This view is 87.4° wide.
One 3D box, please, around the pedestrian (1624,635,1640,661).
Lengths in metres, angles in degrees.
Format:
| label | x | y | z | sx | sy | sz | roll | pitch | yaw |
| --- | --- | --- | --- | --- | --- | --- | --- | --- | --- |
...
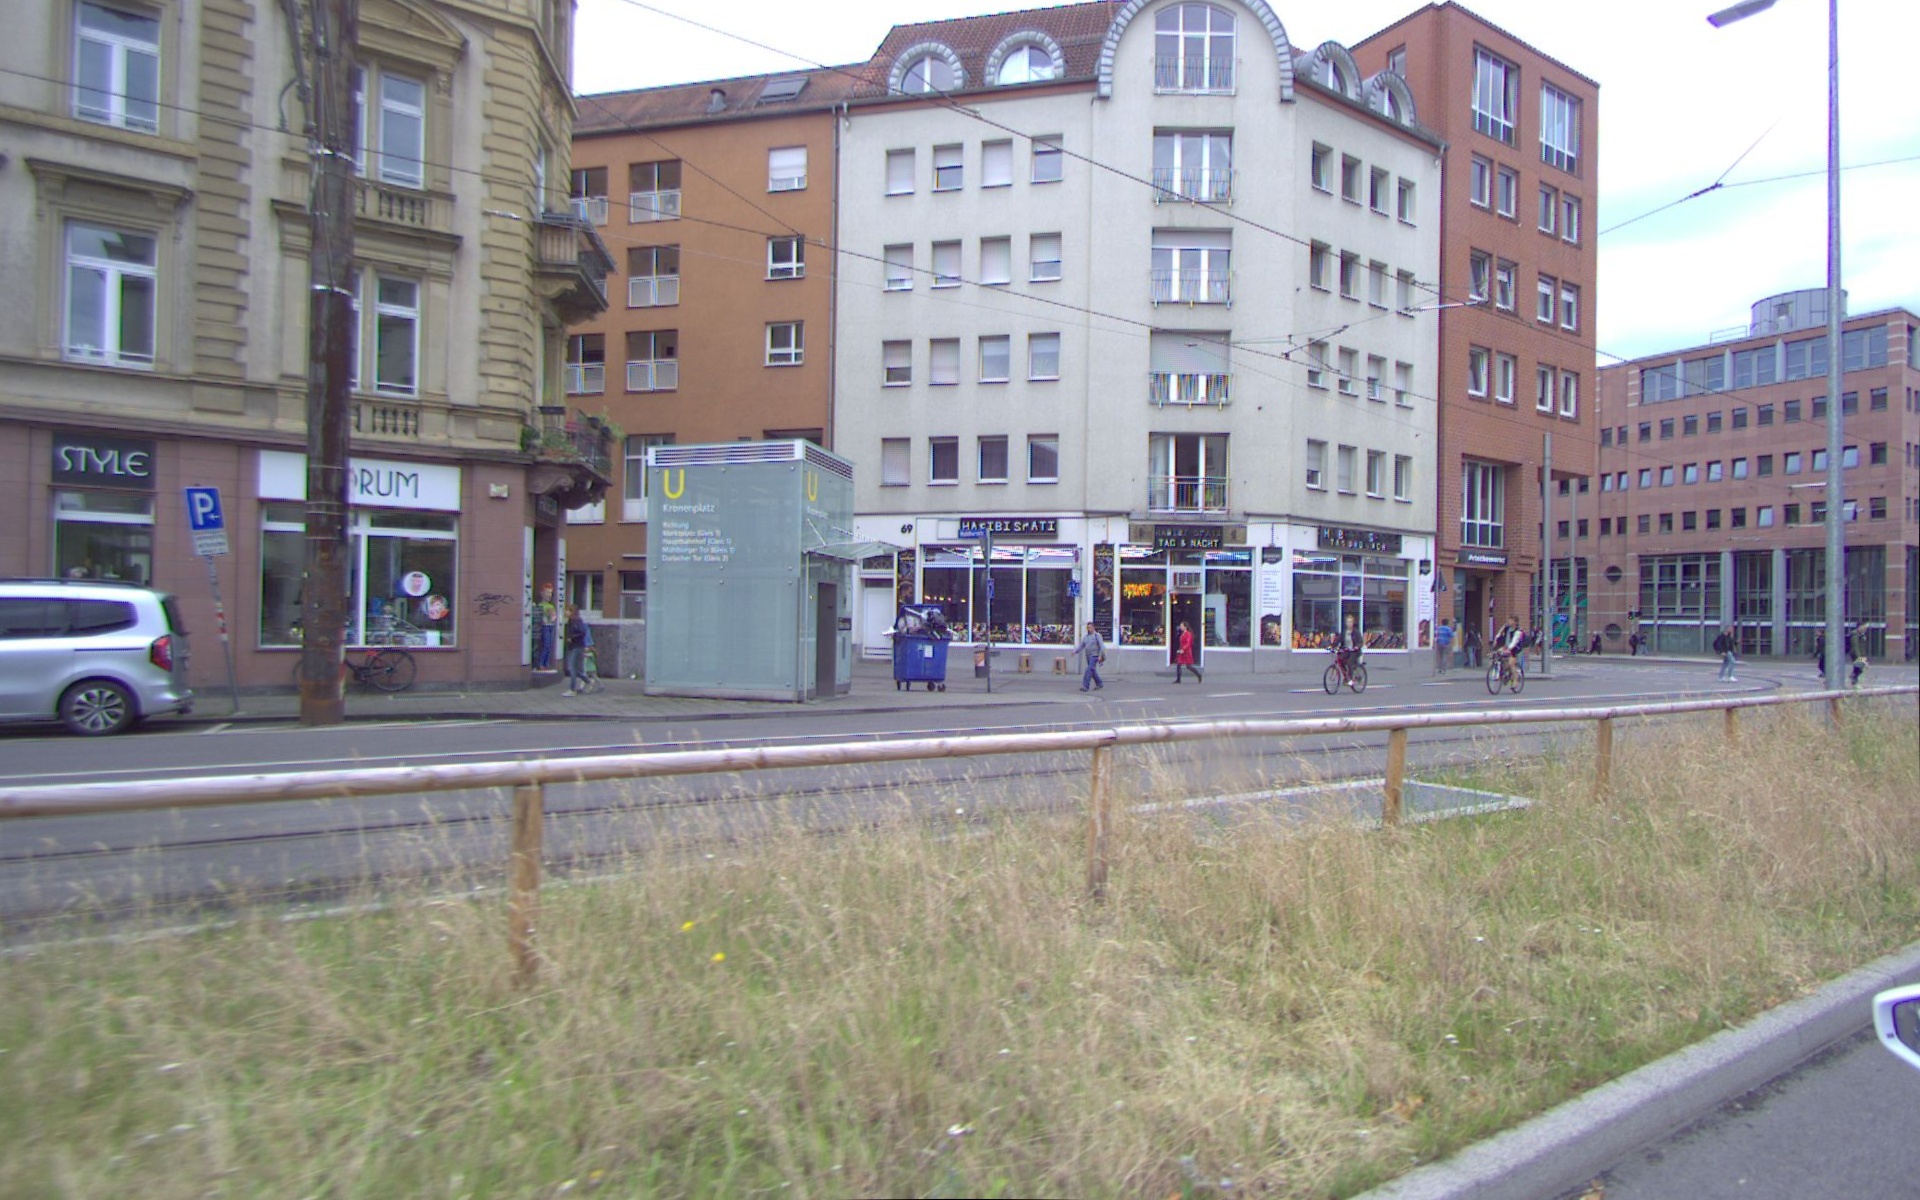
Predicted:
| label | x | y | z | sx | sy | sz | roll | pitch | yaw |
| --- | --- | --- | --- | --- | --- | --- | --- | --- | --- |
| pedestrian | 44.087 | 3.143 | 65.889 | 0.734 | 1.710 | 0.571 | 2 | -1 | 44 |

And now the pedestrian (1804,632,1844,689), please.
| label | x | y | z | sx | sy | sz | roll | pitch | yaw |
| --- | --- | --- | --- | --- | --- | --- | --- | --- | --- |
| pedestrian | 26.917 | 1.881 | 31.308 | 0.791 | 1.706 | 0.738 | 3 | 0 | -36 |

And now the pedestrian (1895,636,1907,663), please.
| label | x | y | z | sx | sy | sz | roll | pitch | yaw |
| --- | --- | --- | --- | --- | --- | --- | --- | --- | --- |
| pedestrian | 57.026 | 2.997 | 60.880 | 0.443 | 1.552 | 0.519 | 2 | 0 | 41 |

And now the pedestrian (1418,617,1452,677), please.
| label | x | y | z | sx | sy | sz | roll | pitch | yaw |
| --- | --- | --- | --- | --- | --- | --- | --- | --- | --- |
| pedestrian | 13.856 | 1.373 | 29.314 | 0.718 | 1.709 | 0.653 | 4 | -3 | -44 |

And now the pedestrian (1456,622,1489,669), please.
| label | x | y | z | sx | sy | sz | roll | pitch | yaw |
| --- | --- | --- | --- | --- | --- | --- | --- | --- | --- |
| pedestrian | 19.206 | 1.721 | 37.646 | 0.791 | 1.706 | 0.738 | 3 | 0 | -36 |

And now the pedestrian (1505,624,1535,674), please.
| label | x | y | z | sx | sy | sz | roll | pitch | yaw |
| --- | --- | --- | --- | --- | --- | --- | --- | --- | --- |
| pedestrian | 19.481 | 1.696 | 34.933 | 0.791 | 1.706 | 0.565 | 3 | 0 | -36 |

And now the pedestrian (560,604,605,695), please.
| label | x | y | z | sx | sy | sz | roll | pitch | yaw |
| --- | --- | --- | --- | --- | --- | --- | --- | --- | --- |
| pedestrian | -6.721 | 0.877 | 17.888 | 0.646 | 1.577 | 0.554 | 2 | 0 | -14 |

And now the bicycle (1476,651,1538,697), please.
| label | x | y | z | sx | sy | sz | roll | pitch | yaw |
| --- | --- | --- | --- | --- | --- | --- | --- | --- | --- |
| bicycle | 12.926 | 1.725 | 23.709 | 1.892 | 1.034 | 0.473 | 2 | -2 | -34 |

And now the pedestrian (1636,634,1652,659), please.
| label | x | y | z | sx | sy | sz | roll | pitch | yaw |
| --- | --- | --- | --- | --- | --- | --- | --- | --- | --- |
| pedestrian | 45.093 | 3.062 | 66.229 | 0.570 | 1.581 | 0.735 | 4 | -1 | -43 |

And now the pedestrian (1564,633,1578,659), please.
| label | x | y | z | sx | sy | sz | roll | pitch | yaw |
| --- | --- | --- | --- | --- | --- | --- | --- | --- | --- |
| pedestrian | 37.999 | 2.856 | 62.466 | 0.625 | 1.595 | 0.568 | 3 | -1 | -39 |

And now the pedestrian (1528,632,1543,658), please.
| label | x | y | z | sx | sy | sz | roll | pitch | yaw |
| --- | --- | --- | --- | --- | --- | --- | --- | --- | --- |
| pedestrian | 36.302 | 2.826 | 63.328 | 0.625 | 1.633 | 0.568 | 3 | -1 | -39 |

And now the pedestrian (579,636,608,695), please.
| label | x | y | z | sx | sy | sz | roll | pitch | yaw |
| --- | --- | --- | --- | --- | --- | --- | --- | --- | --- |
| pedestrian | -6.752 | 1.193 | 18.487 | 0.447 | 1.044 | 0.552 | 2 | 0 | -23 |

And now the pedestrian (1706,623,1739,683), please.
| label | x | y | z | sx | sy | sz | roll | pitch | yaw |
| --- | --- | --- | --- | --- | --- | --- | --- | --- | --- |
| pedestrian | 24.827 | 1.719 | 32.706 | 0.791 | 1.914 | 0.606 | 3 | -1 | -34 |

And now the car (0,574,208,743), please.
| label | x | y | z | sx | sy | sz | roll | pitch | yaw |
| --- | --- | --- | --- | --- | --- | --- | --- | --- | --- |
| car | -11.714 | 0.675 | 11.769 | 4.473 | 1.889 | 1.892 | 2 | -3 | -34 |

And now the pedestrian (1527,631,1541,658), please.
| label | x | y | z | sx | sy | sz | roll | pitch | yaw |
| --- | --- | --- | --- | --- | --- | --- | --- | --- | --- |
| pedestrian | 36.612 | 2.834 | 64.097 | 0.625 | 1.633 | 0.568 | 3 | -1 | -39 |

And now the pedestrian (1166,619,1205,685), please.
| label | x | y | z | sx | sy | sz | roll | pitch | yaw |
| --- | --- | --- | --- | --- | --- | --- | --- | --- | --- |
| pedestrian | 6.011 | 1.382 | 26.766 | 0.657 | 1.709 | 0.714 | 4 | -3 | -42 |

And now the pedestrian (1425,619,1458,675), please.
| label | x | y | z | sx | sy | sz | roll | pitch | yaw |
| --- | --- | --- | --- | --- | --- | --- | --- | --- | --- |
| pedestrian | 14.799 | 1.442 | 30.875 | 0.717 | 1.709 | 0.654 | 4 | -3 | -41 |

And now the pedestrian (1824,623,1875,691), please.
| label | x | y | z | sx | sy | sz | roll | pitch | yaw |
| --- | --- | --- | --- | --- | --- | --- | --- | --- | --- |
| pedestrian | 25.969 | 1.658 | 29.330 | 0.791 | 1.915 | 0.891 | 3 | 0 | -34 |

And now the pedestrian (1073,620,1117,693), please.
| label | x | y | z | sx | sy | sz | roll | pitch | yaw |
| --- | --- | --- | --- | --- | --- | --- | --- | --- | --- |
| pedestrian | 3.237 | 1.357 | 24.124 | 0.810 | 1.709 | 0.721 | 2 | -2 | -11 |

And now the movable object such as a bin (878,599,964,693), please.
| label | x | y | z | sx | sy | sz | roll | pitch | yaw |
| --- | --- | --- | --- | --- | --- | --- | --- | --- | --- |
| movable object such as a bin | -0.888 | 1.041 | 22.589 | 1.596 | 2.007 | 1.028 | 3 | -2 | -25 |

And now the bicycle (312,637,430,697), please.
| label | x | y | z | sx | sy | sz | roll | pitch | yaw |
| --- | --- | --- | --- | --- | --- | --- | --- | --- | --- |
| bicycle | -9.912 | 1.134 | 16.955 | 1.664 | 0.972 | 0.339 | 2 | 0 | -25 |

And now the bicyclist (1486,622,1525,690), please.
| label | x | y | z | sx | sy | sz | roll | pitch | yaw |
| --- | --- | --- | --- | --- | --- | --- | --- | --- | --- |
| bicyclist | 12.871 | 1.307 | 23.685 | 0.803 | 1.561 | 0.488 | 2 | -2 | -34 |

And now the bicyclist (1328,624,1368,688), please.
| label | x | y | z | sx | sy | sz | roll | pitch | yaw |
| --- | --- | --- | --- | --- | --- | --- | --- | --- | --- |
| bicyclist | 8.843 | 1.258 | 22.868 | 0.803 | 1.425 | 0.476 | 2 | -2 | -34 |

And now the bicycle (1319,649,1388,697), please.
| label | x | y | z | sx | sy | sz | roll | pitch | yaw |
| --- | --- | --- | --- | --- | --- | --- | --- | --- | --- |
| bicycle | 9.027 | 1.658 | 22.996 | 1.892 | 1.034 | 0.476 | 2 | -2 | -34 |

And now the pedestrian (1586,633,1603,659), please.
| label | x | y | z | sx | sy | sz | roll | pitch | yaw |
| --- | --- | --- | --- | --- | --- | --- | --- | --- | --- |
| pedestrian | 39.864 | 2.894 | 63.076 | 0.734 | 1.581 | 0.570 | 3 | -1 | -27 |
